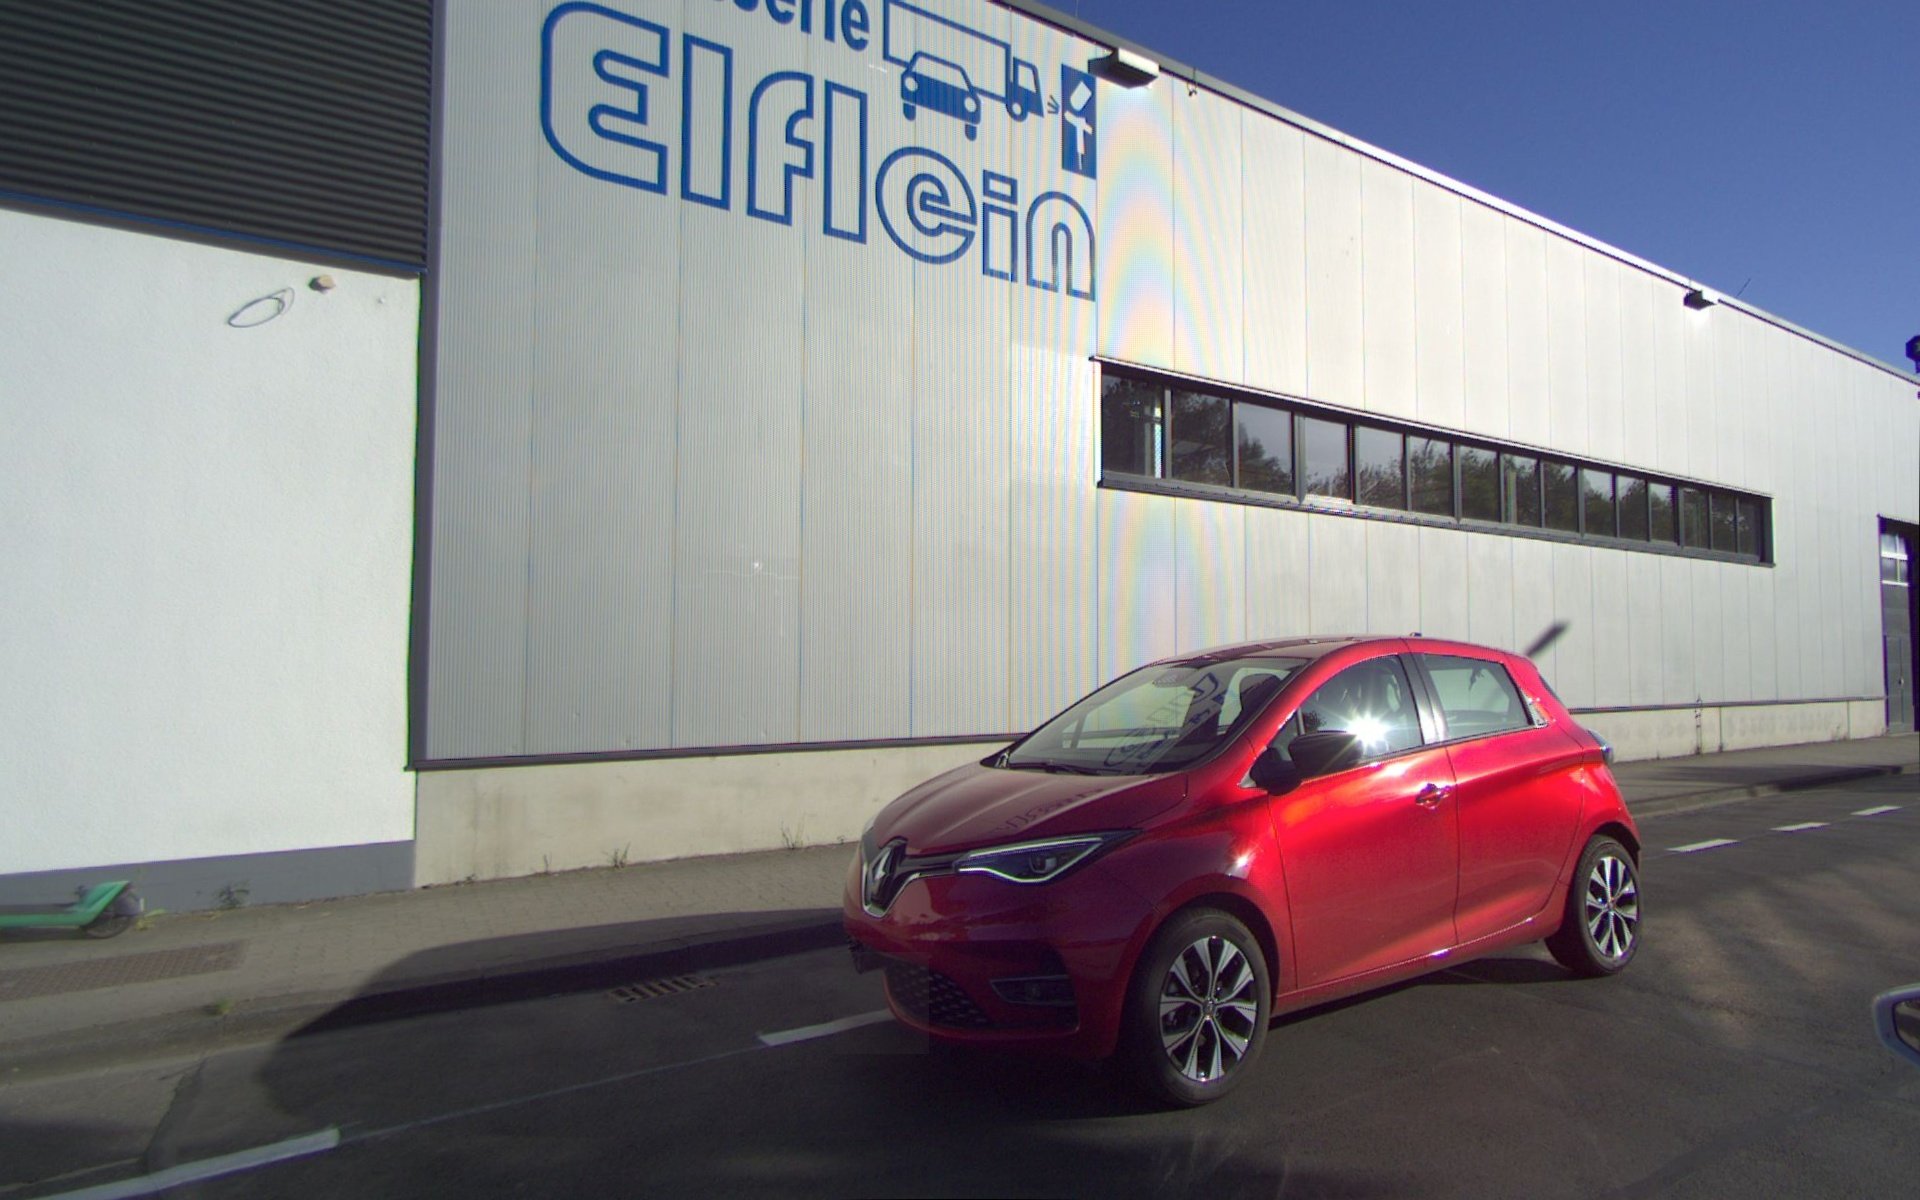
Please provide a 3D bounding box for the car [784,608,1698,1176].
[{"bbox_3d":[1.403,0.912,4.588,4.029,1.559,1.712,2,-5,-31],"label":"car"}]

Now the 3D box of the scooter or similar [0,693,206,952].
[{"bbox_3d":[-4.949,1.111,5.080,1.733,1.219,0.504,2,-1,-31],"label":"scooter or similar"}]
